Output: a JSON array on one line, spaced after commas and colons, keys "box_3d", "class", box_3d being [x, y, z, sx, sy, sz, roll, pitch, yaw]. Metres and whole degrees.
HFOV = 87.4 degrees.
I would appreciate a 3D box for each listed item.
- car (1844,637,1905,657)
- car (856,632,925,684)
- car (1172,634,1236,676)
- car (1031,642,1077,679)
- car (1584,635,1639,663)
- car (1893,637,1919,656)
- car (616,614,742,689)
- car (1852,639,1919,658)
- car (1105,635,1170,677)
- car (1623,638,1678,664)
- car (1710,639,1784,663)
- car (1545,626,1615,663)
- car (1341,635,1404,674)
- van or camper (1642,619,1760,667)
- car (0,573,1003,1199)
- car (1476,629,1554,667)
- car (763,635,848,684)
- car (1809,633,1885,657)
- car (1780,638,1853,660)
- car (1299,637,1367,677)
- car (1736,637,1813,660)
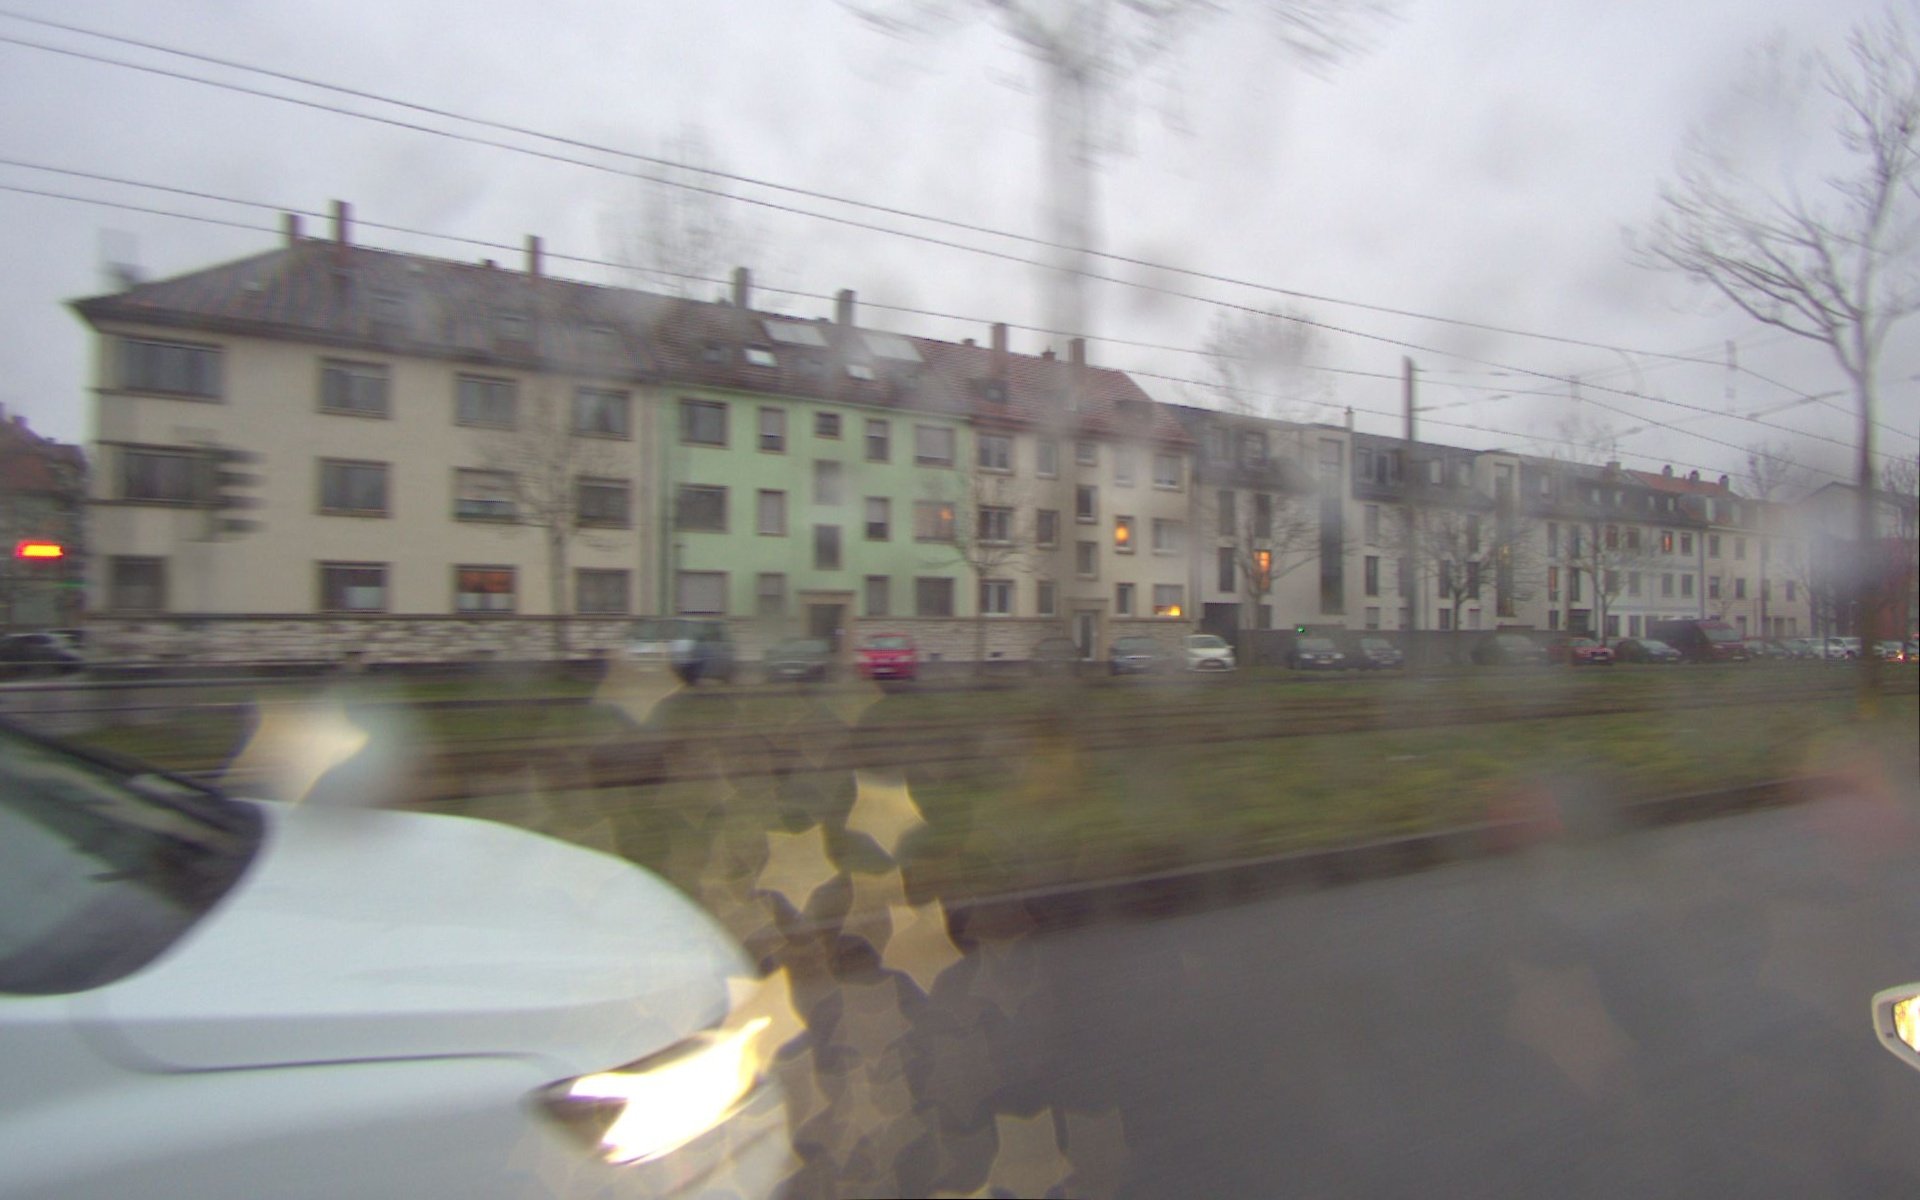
[{"box_3d": [61.638, 3.170, 67.722, 1.369, 1.162, 3.045, 1, 0, 1], "class": "car"}, {"box_3d": [-2.023, 1.698, 30.174, 1.653, 1.326, 3.581, 1, 0, 3], "class": "car"}, {"box_3d": [8.713, 1.925, 36.131, 1.702, 1.262, 3.845, 1, 0, 6], "class": "car"}, {"box_3d": [3.093, 1.993, 33.357, 1.408, 1.062, 2.393, 0, 0, 3], "class": "car"}, {"box_3d": [34.025, 2.531, 52.515, 1.360, 1.320, 3.099, 1, 0, 11], "class": "car"}, {"box_3d": [70.304, 3.420, 73.142, 1.424, 1.355, 3.770, 0, -1, 6], "class": "car"}, {"box_3d": [-7.483, 1.312, 27.246, 1.796, 1.746, 4.660, 1, 0, 4], "class": "car"}, {"box_3d": [64.320, 3.330, 69.387, 1.648, 1.131, 4.190, 1, 0, 1], "class": "car"}, {"box_3d": [5.999, 1.887, 34.370, 1.703, 1.188, 3.822, 1, 0, 3], "class": "car"}, {"box_3d": [36.539, 2.692, 53.212, 1.360, 1.220, 2.890, 1, 0, 11], "class": "car"}, {"box_3d": [46.906, 3.008, 59.962, 1.713, 1.228, 3.541, 1, 0, 2], "class": "car"}, {"box_3d": [30.723, 2.168, 49.872, 1.707, 1.610, 3.851, 1, 0, 11], "class": "car"}, {"box_3d": [17.002, 2.217, 41.577, 1.636, 1.441, 3.387, 1, 0, 9], "class": "car"}, {"box_3d": [41.863, 2.347, 57.028, 1.960, 2.391, 6.884, 1, 0, 4], "class": "van or camper"}, {"box_3d": [-2.058, 0.700, 1.307, 3.954, 1.494, 1.680, 1, 0, -31], "class": "car"}, {"box_3d": [25.553, 2.164, 46.392, 1.636, 1.561, 4.165, 1, 0, 6], "class": "car"}, {"box_3d": [-4.353, 1.669, 28.789, 1.702, 1.156, 3.573, 1, 0, 3], "class": "car"}, {"box_3d": [58.413, 2.955, 66.236, 1.737, 1.397, 4.126, 1, 0, 7], "class": "car"}, {"box_3d": [52.933, 3.037, 62.125, 1.658, 1.162, 3.419, 1, 0, 2], "class": "car"}, {"box_3d": [14.747, 2.231, 39.820, 1.703, 1.354, 2.937, 1, 0, 3], "class": "car"}, {"box_3d": [49.521, 2.937, 61.166, 1.845, 1.216, 3.541, 1, 0, 2], "class": "car"}]
